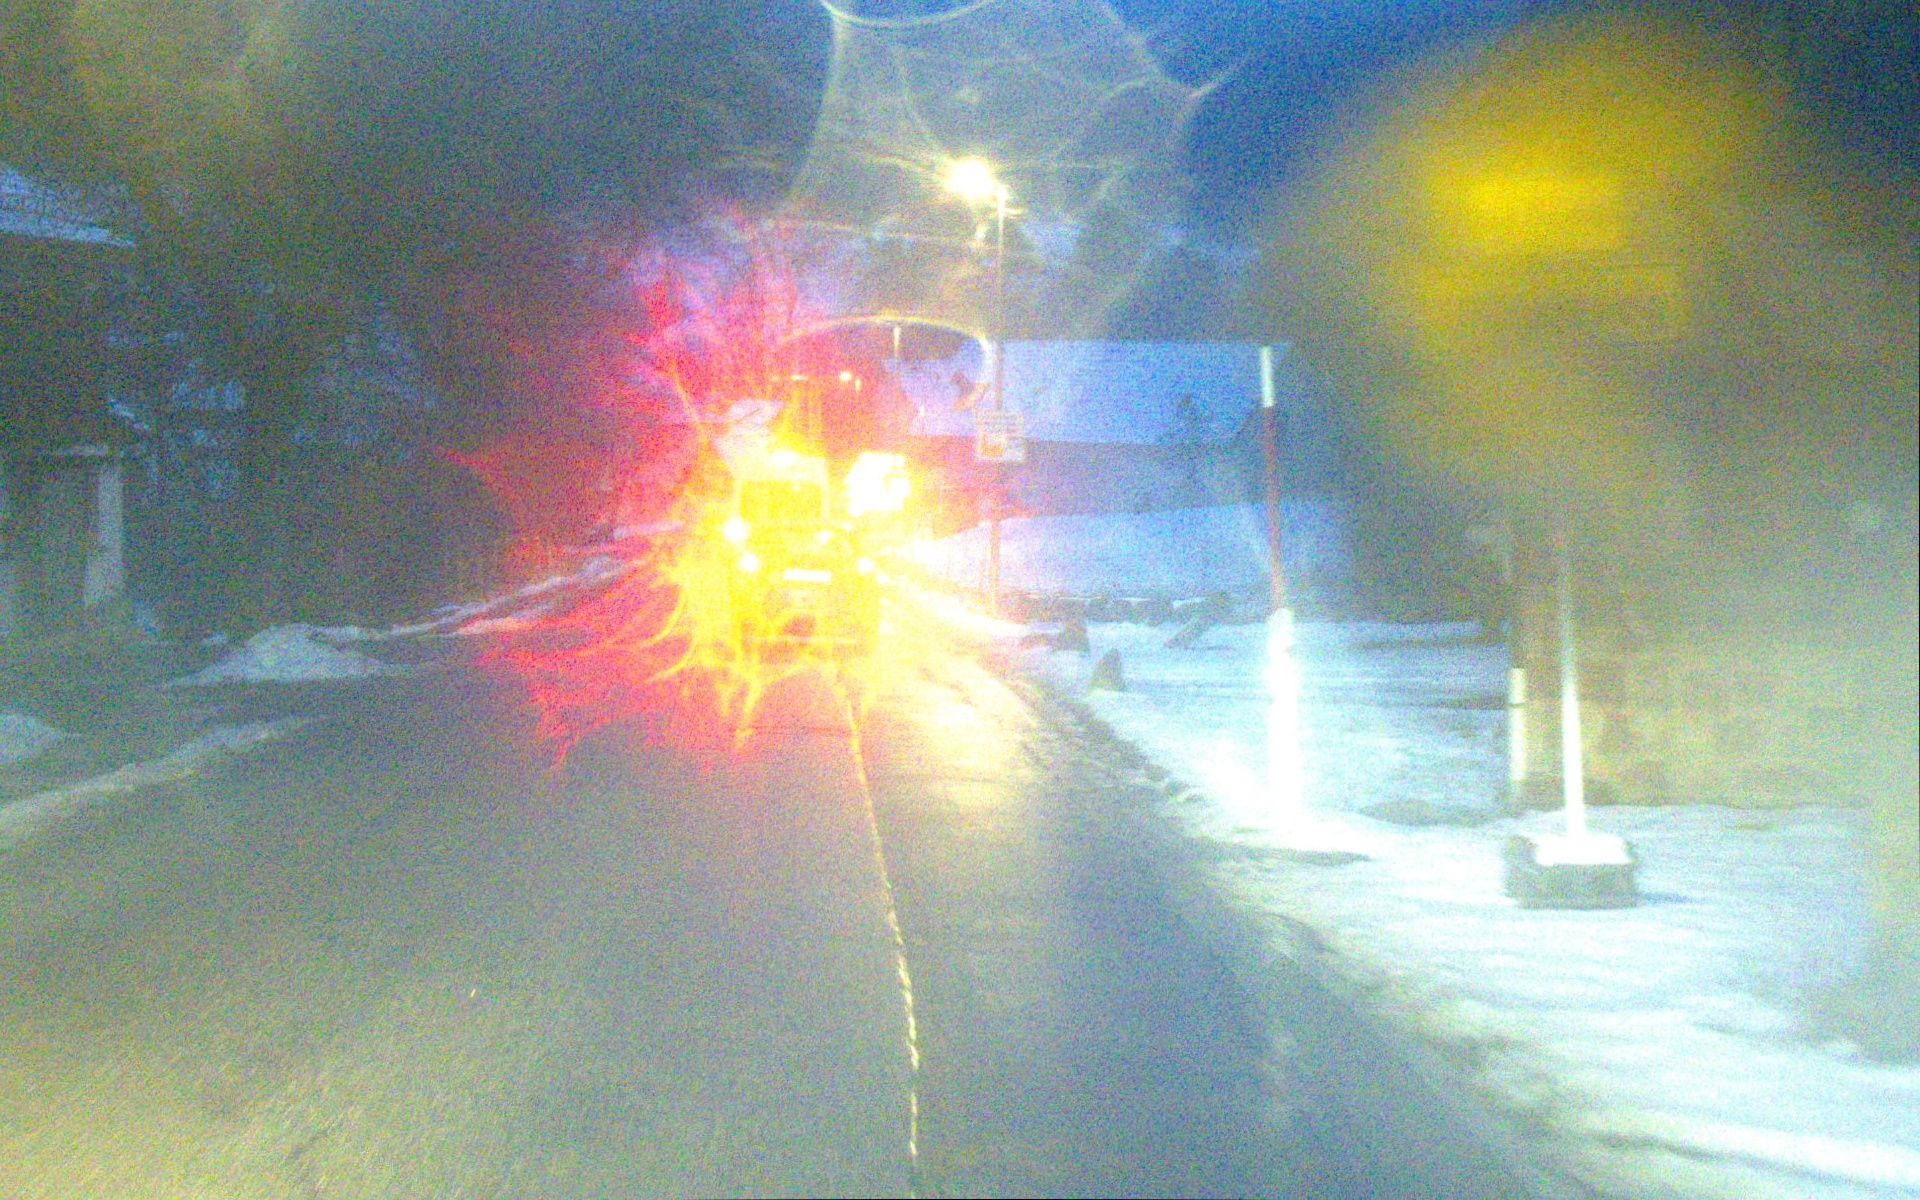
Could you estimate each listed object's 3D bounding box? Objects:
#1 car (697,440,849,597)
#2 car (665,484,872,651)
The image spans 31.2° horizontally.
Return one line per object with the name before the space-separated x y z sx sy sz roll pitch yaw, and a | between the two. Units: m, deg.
car | -3.684 -1.568 68.879 2.435 3.008 5.324 0 0 3
car | -2.211 -0.432 40.547 2.274 1.834 5.007 -1 2 -2
